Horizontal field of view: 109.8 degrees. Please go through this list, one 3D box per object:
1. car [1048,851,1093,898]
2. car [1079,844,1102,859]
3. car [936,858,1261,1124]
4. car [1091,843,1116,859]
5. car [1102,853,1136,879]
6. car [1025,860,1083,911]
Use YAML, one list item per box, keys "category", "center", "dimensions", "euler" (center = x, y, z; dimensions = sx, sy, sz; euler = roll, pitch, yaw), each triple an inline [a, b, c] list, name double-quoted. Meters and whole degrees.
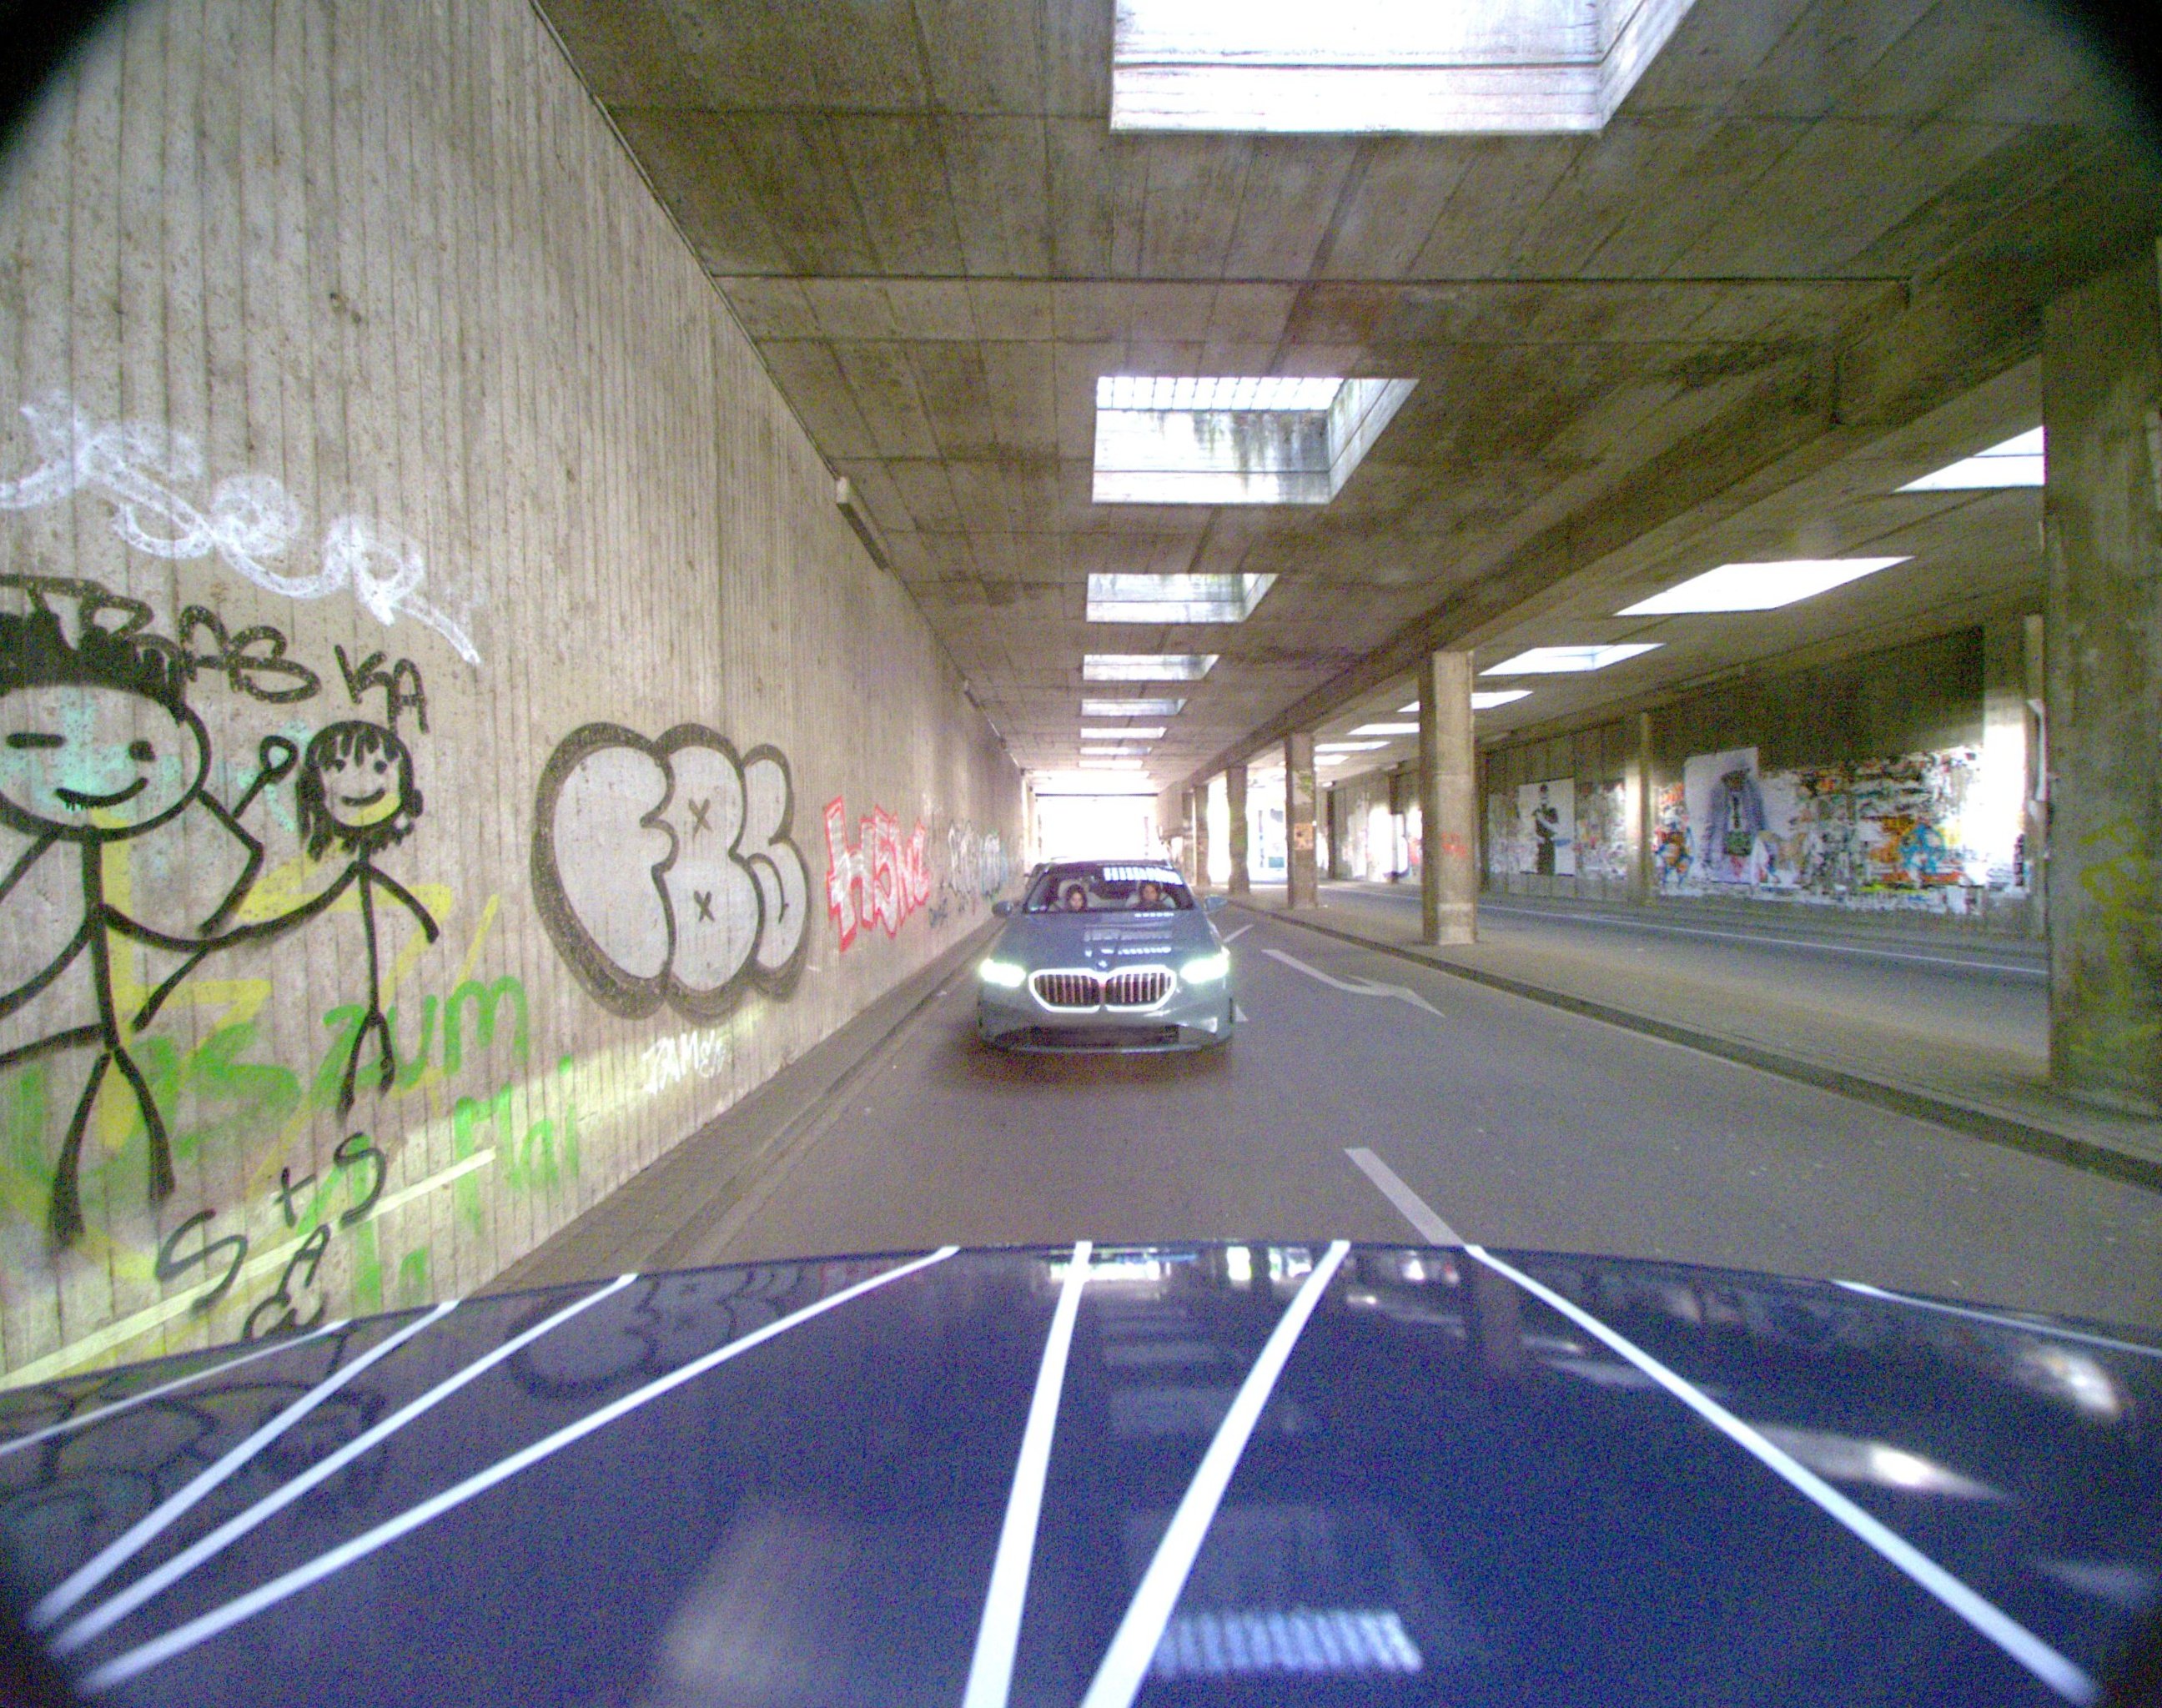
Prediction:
- category: "car"
  center: [-0.362, 0.758, 29.907]
  dimensions: [1.581, 1.676, 4.078]
  euler: [-2, 0, 1]
- category: "car"
  center: [1.218, -0.356, 103.551]
  dimensions: [2.361, 2.002, 5.146]
  euler: [-1, 0, -8]
- category: "car"
  center: [0.189, 0.876, 7.326]
  dimensions: [1.998, 1.594, 5.176]
  euler: [-1, 0, 2]
- category: "car"
  center: [2.872, -0.348, 97.538]
  dimensions: [2.361, 2.002, 5.146]
  euler: [-1, 0, -8]
- category: "car"
  center: [2.262, 0.693, 45.702]
  dimensions: [1.784, 1.438, 4.178]
  euler: [-1, 0, 0]
- category: "car"
  center: [-0.785, 0.940, 23.901]
  dimensions: [1.593, 1.387, 3.833]
  euler: [-2, 0, 1]
